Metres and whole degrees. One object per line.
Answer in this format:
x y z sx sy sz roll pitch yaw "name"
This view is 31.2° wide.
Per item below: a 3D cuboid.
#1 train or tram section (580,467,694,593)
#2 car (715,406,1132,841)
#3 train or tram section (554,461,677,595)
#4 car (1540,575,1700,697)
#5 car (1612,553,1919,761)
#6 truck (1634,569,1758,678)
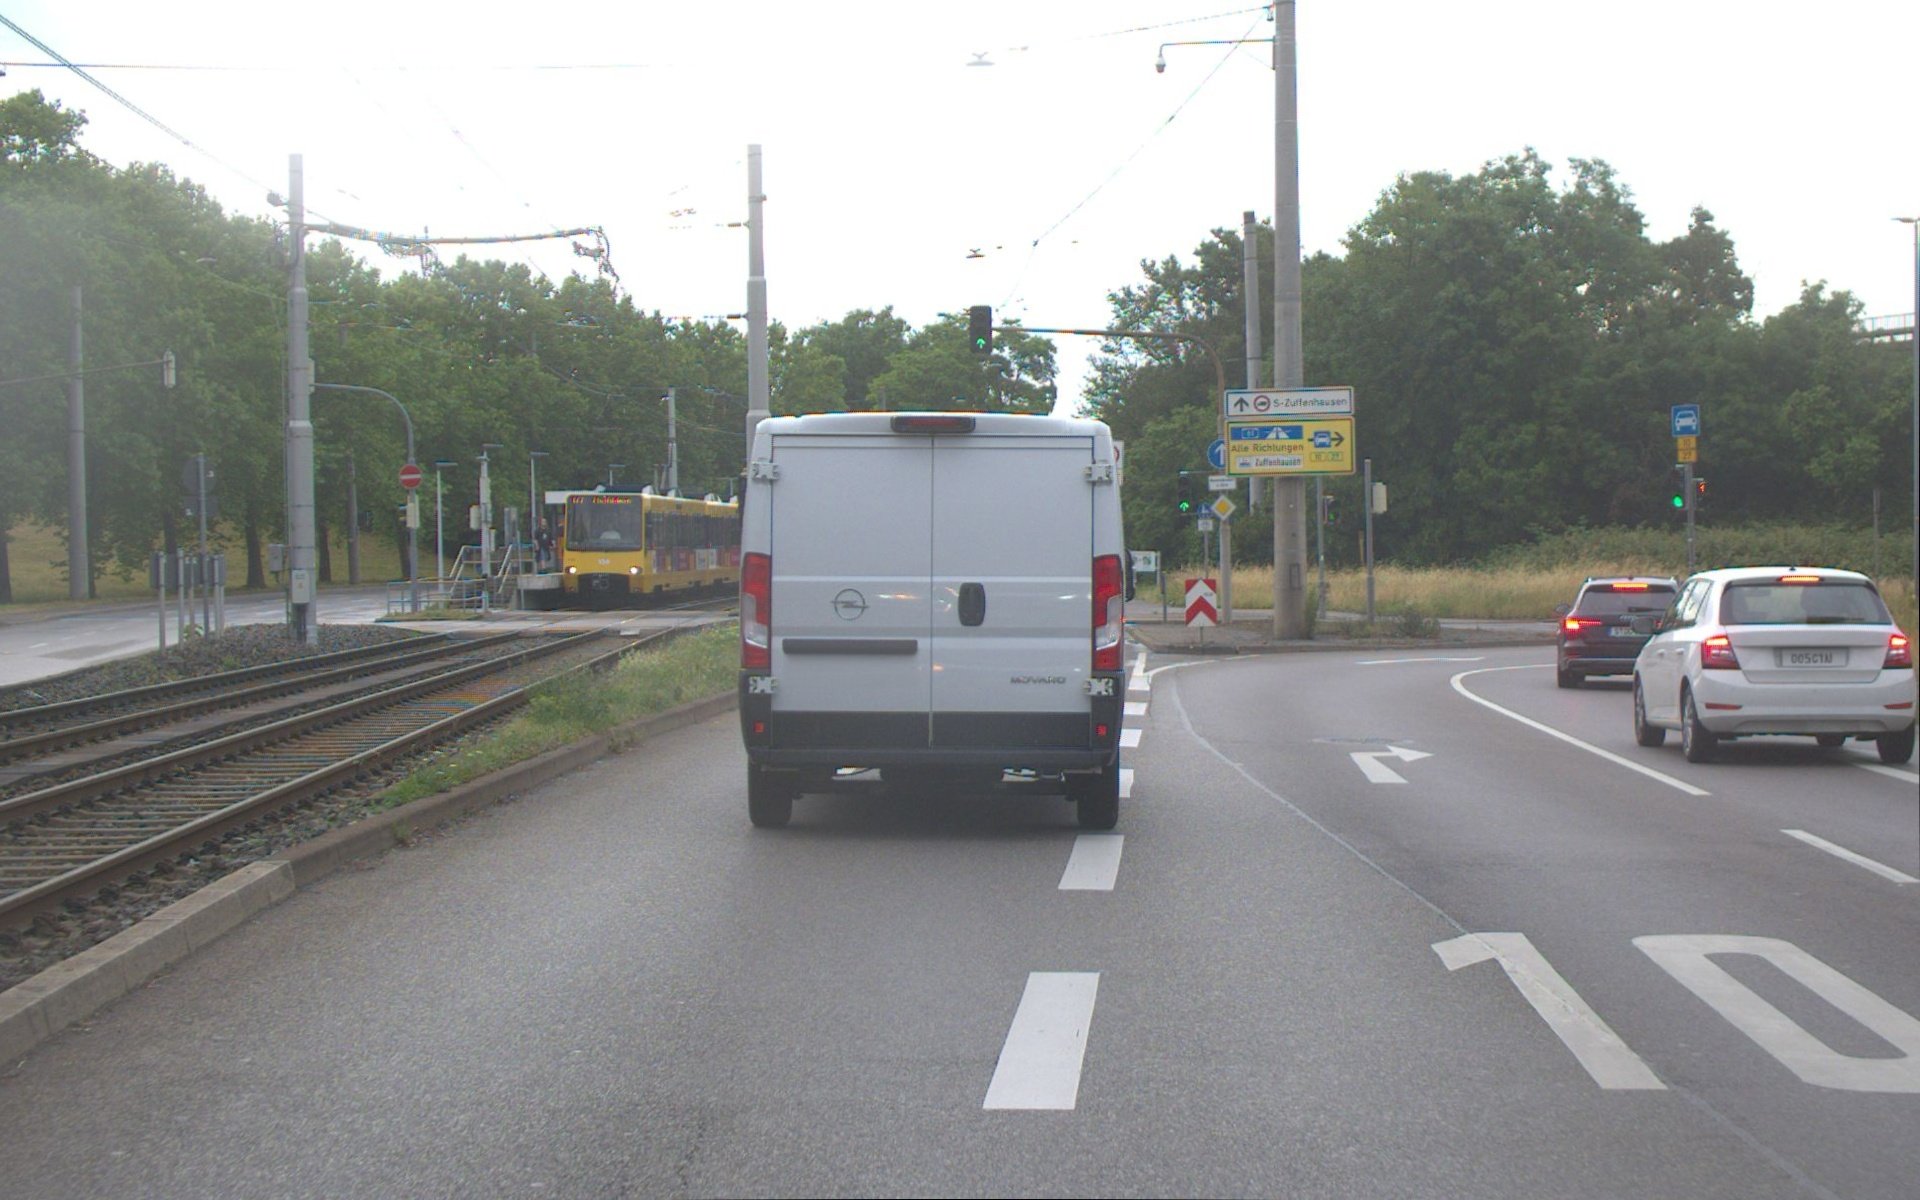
-10.561 -2.289 112.972 2.928 3.919 7.005 2 1 1 "train or tram section"
-0.238 0.065 20.165 2.090 2.189 5.061 1 1 -1 "car"
-10.630 -2.200 106.571 2.928 3.919 7.005 2 1 1 "train or tram section"
8.323 0.421 43.619 1.790 1.444 3.999 1 1 8 "car"
6.233 0.385 26.628 1.746 1.452 3.671 1 1 2 "car"
13.056 0.395 61.199 1.994 1.784 4.412 -1 1 10 "truck"
